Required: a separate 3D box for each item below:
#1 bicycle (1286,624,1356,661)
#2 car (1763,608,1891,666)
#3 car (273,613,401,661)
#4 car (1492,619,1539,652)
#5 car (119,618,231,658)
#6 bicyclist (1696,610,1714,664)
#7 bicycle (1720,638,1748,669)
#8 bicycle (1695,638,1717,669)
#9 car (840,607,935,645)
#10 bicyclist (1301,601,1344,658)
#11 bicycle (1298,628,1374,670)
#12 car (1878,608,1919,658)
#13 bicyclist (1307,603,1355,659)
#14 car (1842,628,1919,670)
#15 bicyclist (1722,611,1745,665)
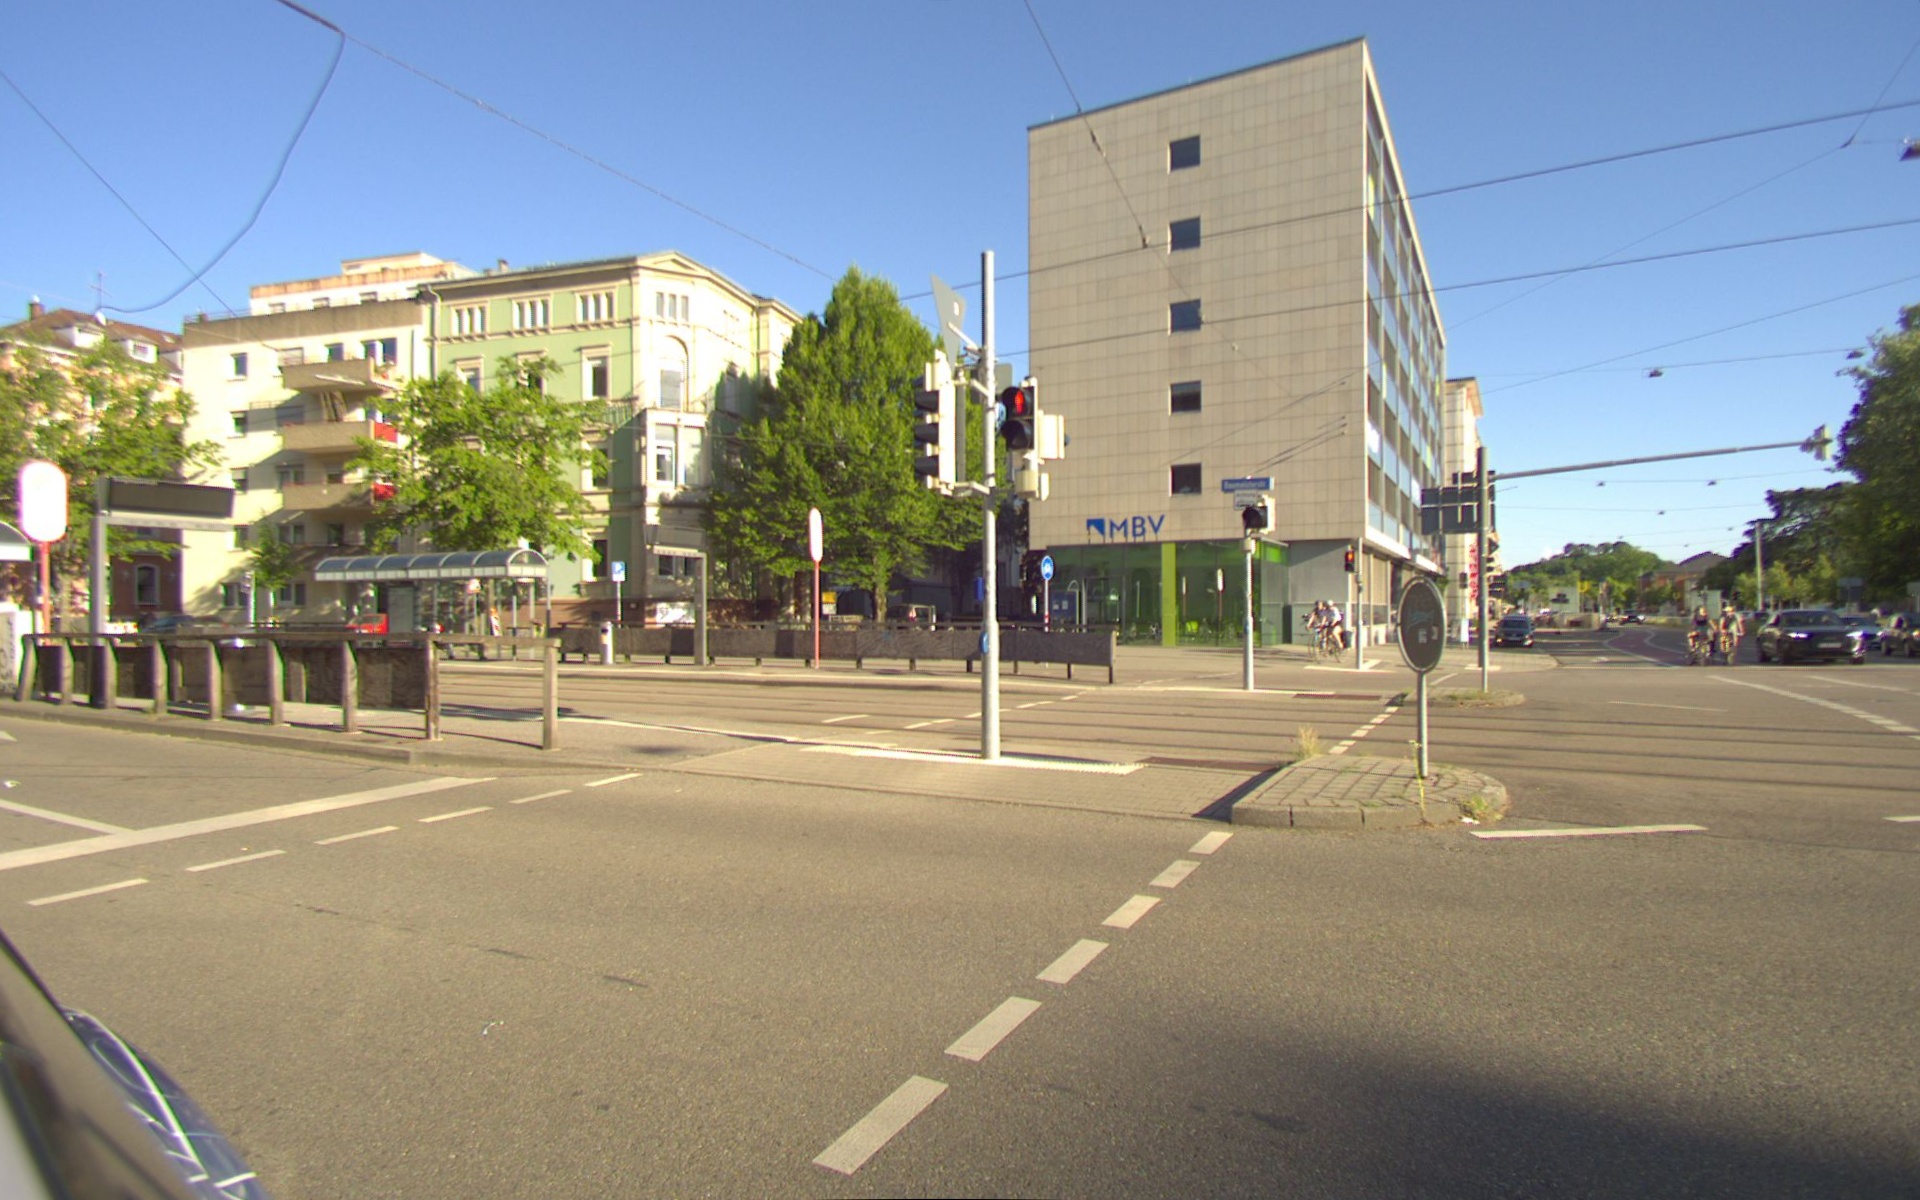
[{"bbox_3d":[10.972,1.282,30.793,1.875,1.075,0.757,0,2,-13],"label":"bicycle"},{"bbox_3d":[25.783,1.090,30.282,1.992,1.585,4.503,-2,-2,29],"label":"car"},{"bbox_3d":[-23.117,1.322,37.698,1.724,1.597,3.981,-1,0,15],"label":"car"},{"bbox_3d":[28.086,1.755,51.143,1.992,1.585,4.503,-1,-1,29],"label":"car"},{"bbox_3d":[-32.679,1.564,42.155,3.965,1.597,1.731,-1,0,17],"label":"car"},{"bbox_3d":[22.443,1.112,30.484,0.357,1.588,0.530,-1,-2,29],"label":"bicyclist"},{"bbox_3d":[23.155,1.600,30.300,0.451,0.880,1.371,-1,-1,29],"label":"bicycle"},{"bbox_3d":[22.447,1.605,30.474,0.350,0.880,1.371,-1,-1,29],"label":"bicycle"},{"bbox_3d":[-3.301,1.161,45.961,3.977,1.597,1.726,0,0,25],"label":"car"},{"bbox_3d":[11.028,0.885,30.770,0.930,1.703,0.766,0,2,-13],"label":"bicyclist"},{"bbox_3d":[10.670,1.368,28.696,2.146,1.075,0.886,-1,2,-33],"label":"bicycle"},{"bbox_3d":[32.412,1.077,33.505,1.992,1.585,4.503,-1,-2,29],"label":"car"},{"bbox_3d":[10.477,0.864,28.563,0.892,1.518,0.891,-1,2,-32],"label":"bicyclist"},{"bbox_3d":[37.464,1.926,40.768,1.992,1.585,4.503,-1,-1,29],"label":"car"},{"bbox_3d":[23.124,1.126,30.255,0.452,1.588,0.530,-1,-2,30],"label":"bicyclist"}]
